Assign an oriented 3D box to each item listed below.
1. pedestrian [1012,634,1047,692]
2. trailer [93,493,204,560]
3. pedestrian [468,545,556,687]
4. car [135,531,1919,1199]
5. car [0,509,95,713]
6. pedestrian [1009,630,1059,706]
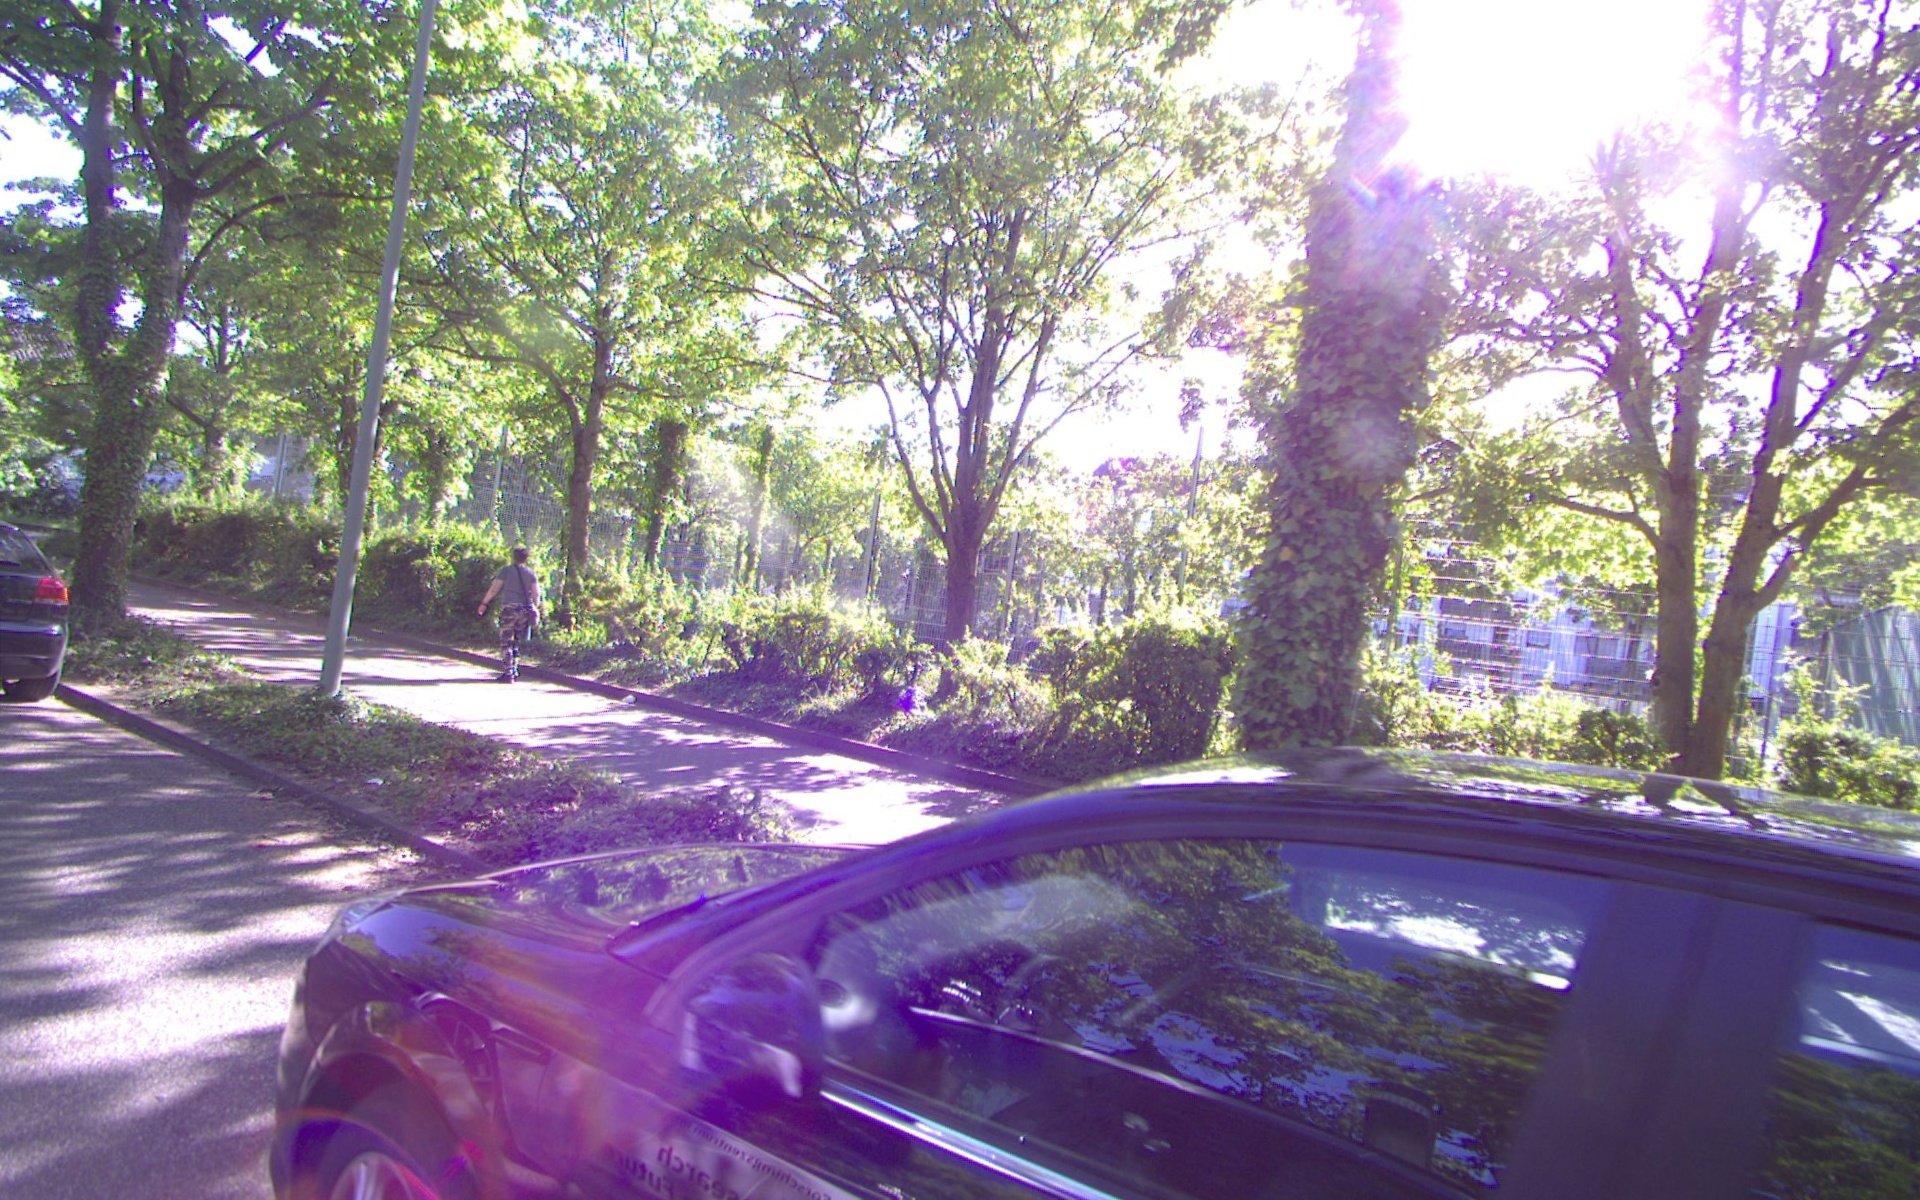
[{"bbox_3d":[1.846,1.679,26.772,0.622,1.436,0.505,9,-2,-13],"label":"pedestrian"},{"bbox_3d":[-32.484,-2.913,40.323,1.584,2.141,2.949,7,-1,31],"label":"trailer"},{"bbox_3d":[-5.479,0.196,12.294,0.662,1.626,0.571,7,-1,42],"label":"pedestrian"},{"bbox_3d":[0.568,0.886,1.547,3.967,1.497,1.751,6,-3,35],"label":"car"},{"bbox_3d":[-8.734,-0.167,7.883,3.932,1.436,1.644,7,-2,30],"label":"car"},{"bbox_3d":[1.317,1.196,17.853,0.554,1.253,0.543,9,-2,-18],"label":"pedestrian"}]
